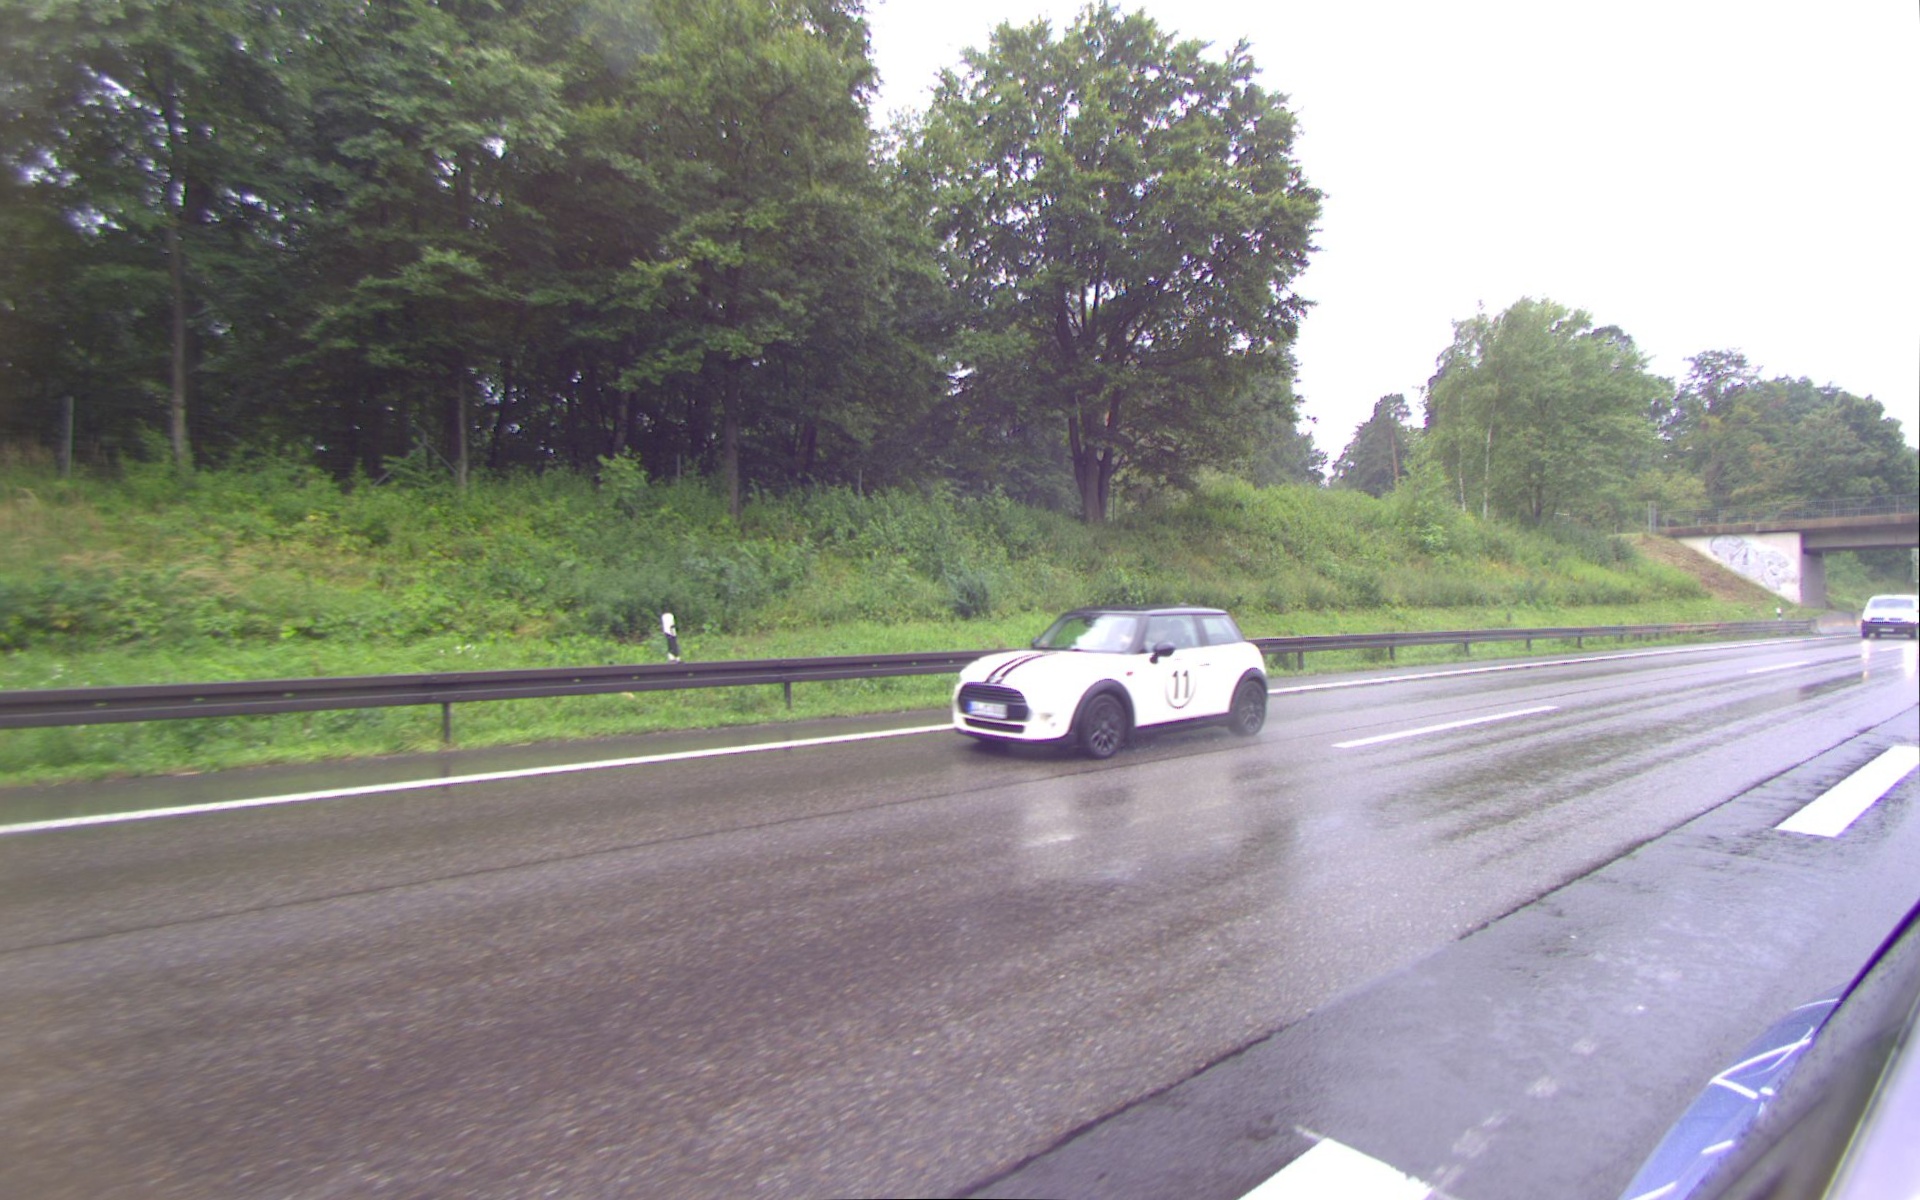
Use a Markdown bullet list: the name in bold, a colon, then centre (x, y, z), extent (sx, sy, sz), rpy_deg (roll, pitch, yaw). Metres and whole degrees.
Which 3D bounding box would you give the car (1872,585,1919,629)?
- **car**: centre (43.235, 0.305, 45.983), extent (4.681, 1.945, 1.994), rpy_deg (0, 0, -39)

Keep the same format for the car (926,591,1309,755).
- **car**: centre (1.813, 0.634, 10.838), extent (4.153, 1.425, 1.794), rpy_deg (0, 0, -40)
